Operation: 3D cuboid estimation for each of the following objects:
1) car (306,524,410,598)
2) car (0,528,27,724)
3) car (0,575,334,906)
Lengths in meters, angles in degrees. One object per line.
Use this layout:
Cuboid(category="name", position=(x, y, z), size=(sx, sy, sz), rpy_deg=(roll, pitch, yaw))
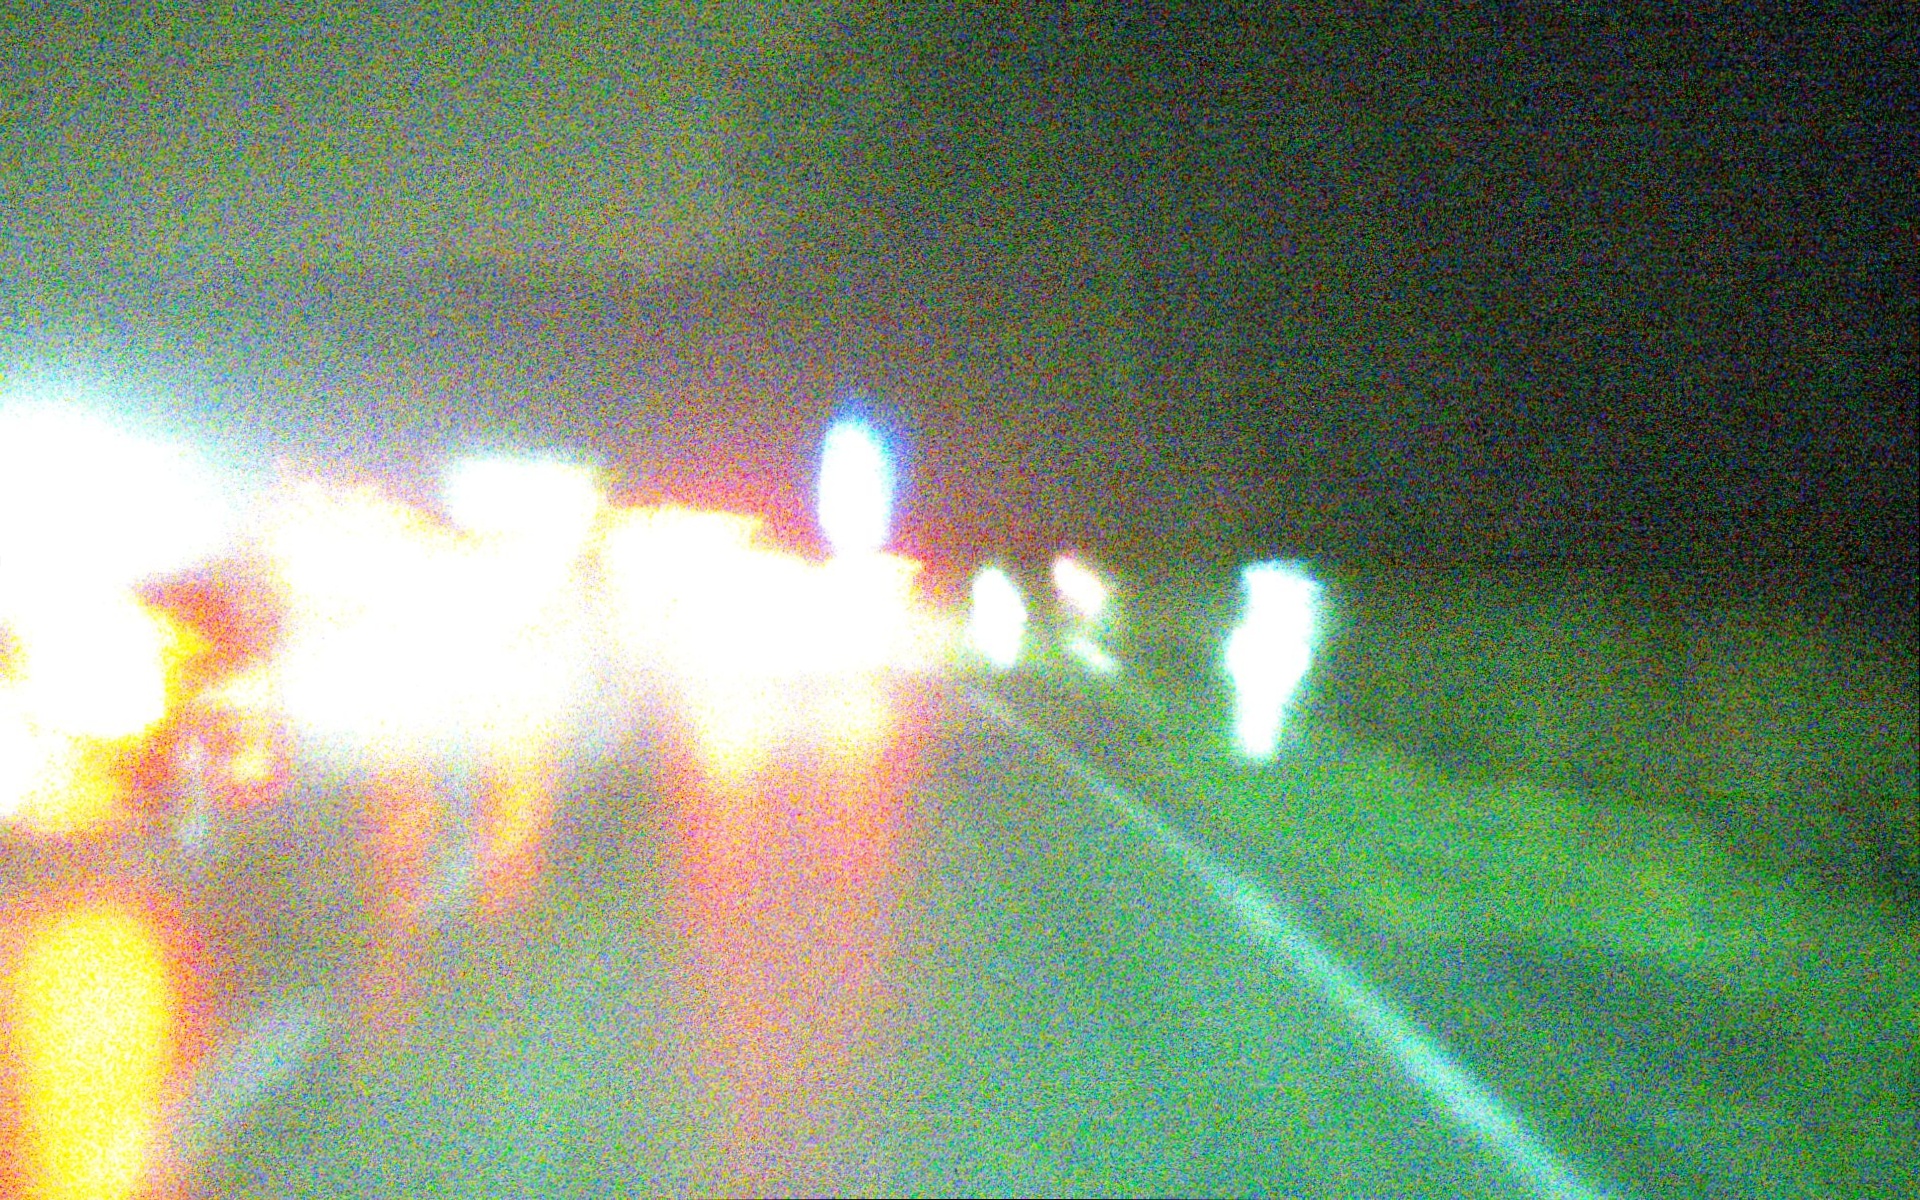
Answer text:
Cuboid(category="car", position=(-13.161, -0.842, 75.348), size=(1.892, 1.545, 4.001), rpy_deg=(1, 0, -5))
Cuboid(category="car", position=(-8.204, 0.213, 24.901), size=(1.767, 1.512, 4.915), rpy_deg=(1, 1, -3))
Cuboid(category="car", position=(-4.390, 0.588, 16.806), size=(1.962, 1.376, 4.049), rpy_deg=(2, 0, -1))
